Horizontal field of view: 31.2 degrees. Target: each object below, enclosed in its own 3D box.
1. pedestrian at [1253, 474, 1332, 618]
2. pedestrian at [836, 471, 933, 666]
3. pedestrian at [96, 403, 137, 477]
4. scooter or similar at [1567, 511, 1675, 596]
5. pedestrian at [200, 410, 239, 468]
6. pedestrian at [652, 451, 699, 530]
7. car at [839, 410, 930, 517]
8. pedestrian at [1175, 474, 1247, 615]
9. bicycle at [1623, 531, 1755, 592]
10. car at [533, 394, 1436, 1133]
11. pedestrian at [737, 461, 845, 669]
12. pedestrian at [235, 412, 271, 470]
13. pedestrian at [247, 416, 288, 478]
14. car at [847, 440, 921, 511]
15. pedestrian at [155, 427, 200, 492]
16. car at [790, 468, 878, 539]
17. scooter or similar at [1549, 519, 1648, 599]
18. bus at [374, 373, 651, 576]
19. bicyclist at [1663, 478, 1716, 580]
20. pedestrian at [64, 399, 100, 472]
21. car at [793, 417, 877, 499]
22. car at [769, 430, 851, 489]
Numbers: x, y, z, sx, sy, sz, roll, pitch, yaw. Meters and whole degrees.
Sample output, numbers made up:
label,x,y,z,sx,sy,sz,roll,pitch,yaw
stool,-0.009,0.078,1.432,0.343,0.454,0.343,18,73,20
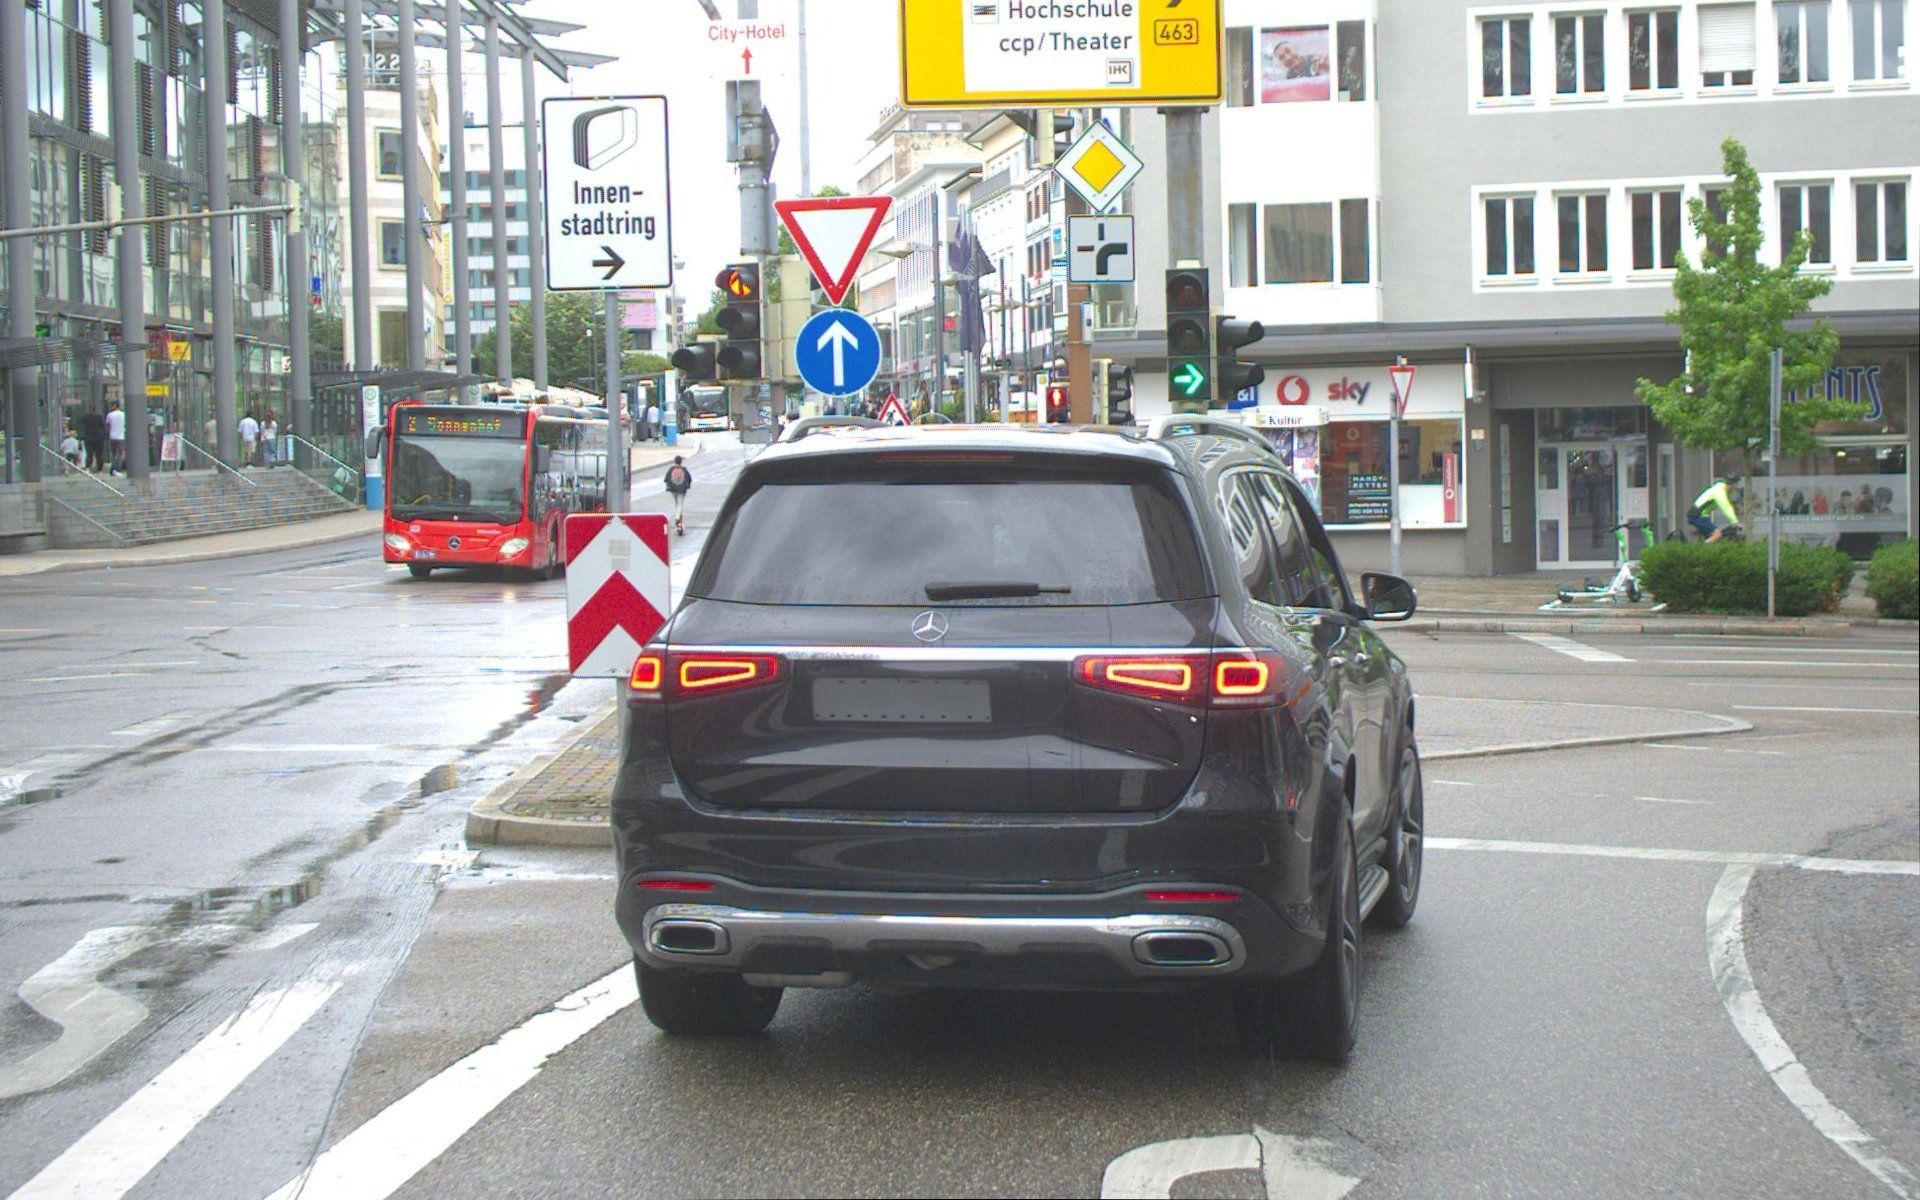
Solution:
label,x,y,z,sx,sy,sz,roll,pitch,yaw
pedestrian,4.154,-0.684,43.012,0.829,1.772,0.618,1,2,-6
pedestrian,-0.662,-0.278,30.483,0.756,1.686,0.693,1,0,4
pedestrian,-19.884,-3.767,81.039,0.827,1.707,0.802,0,2,-6
scooter or similar,10.192,-0.724,53.002,1.498,1.252,0.930,1,3,19
pedestrian,-22.040,-4.800,102.357,1.038,1.707,1.008,0,2,-6
pedestrian,-6.906,-2.654,83.498,0.955,1.880,0.810,2,2,6
car,-2.223,-3.937,99.320,2.444,2.947,6.154,1,2,-3
pedestrian,3.059,-0.678,41.870,0.781,1.683,0.638,2,2,8
bicycle,12.195,-0.652,57.500,2.138,0.989,0.694,0,2,14
car,0.358,0.290,11.060,2.088,1.810,4.791,1,3,10
pedestrian,-1.412,-0.295,28.807,0.784,1.705,0.707,1,1,4
pedestrian,-21.066,-4.721,102.446,0.937,1.707,0.992,0,2,-5
pedestrian,-19.561,-4.316,97.107,1.038,1.707,1.008,0,2,-6
car,-2.074,-3.352,92.774,1.860,1.819,4.104,1,2,-3
pedestrian,-20.905,-3.748,91.870,1.038,1.707,1.008,0,2,-6
car,-2.814,-2.195,77.472,1.737,1.522,4.000,1,2,1
scooter or similar,9.531,-0.612,51.346,1.381,1.183,0.543,0,2,19
bus,-8.210,-2.345,65.982,2.920,3.309,18.480,1,2,0
bicyclist,12.200,-1.189,57.488,0.845,1.698,0.622,0,2,14
pedestrian,-20.622,-3.863,80.745,0.680,1.707,0.850,0,2,-6
car,-5.464,-6.207,151.104,2.445,3.453,6.151,2,2,10
car,-4.734,-4.445,109.295,2.422,1.774,5.155,1,2,-1
